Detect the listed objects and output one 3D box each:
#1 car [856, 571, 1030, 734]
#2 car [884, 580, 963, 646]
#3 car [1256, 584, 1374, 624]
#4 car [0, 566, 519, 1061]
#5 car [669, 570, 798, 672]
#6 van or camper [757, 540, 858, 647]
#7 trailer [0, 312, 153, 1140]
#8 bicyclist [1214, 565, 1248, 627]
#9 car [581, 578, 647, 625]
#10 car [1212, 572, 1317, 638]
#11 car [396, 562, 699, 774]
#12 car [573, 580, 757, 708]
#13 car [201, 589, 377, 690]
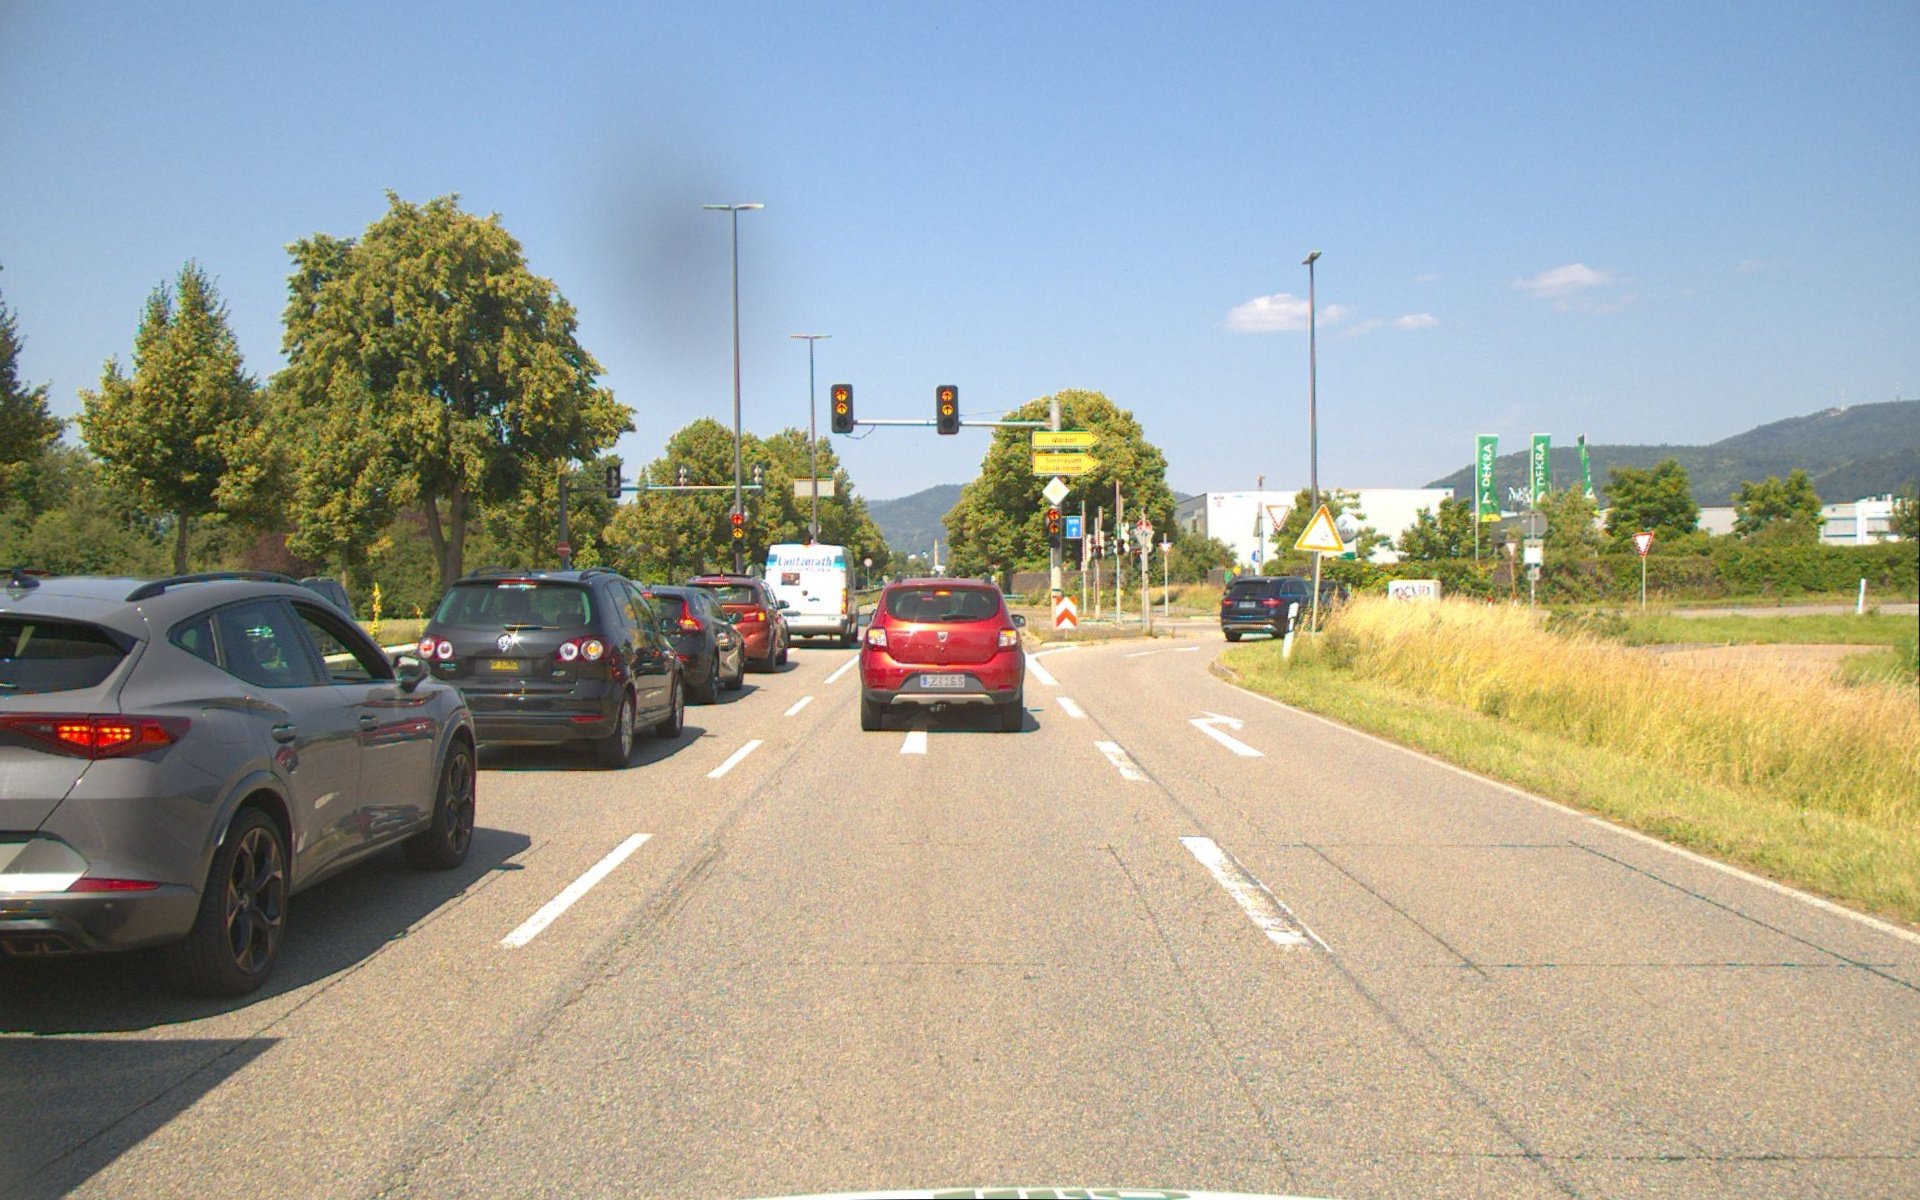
[{"bbox_3d":[-0.141,0.500,18.223,1.713,1.603,3.677,0,1,1],"label":"car"},{"bbox_3d":[-0.822,0.266,39.288,1.713,1.483,3.677,0,1,1],"label":"car"},{"bbox_3d":[12.528,0.122,58.540,3.902,1.350,1.808,0,1,6],"label":"car"},{"bbox_3d":[-3.349,0.628,7.276,1.710,1.529,4.362,0,1,-1],"label":"car"},{"bbox_3d":[-3.836,0.317,28.549,1.689,1.628,3.955,0,1,0],"label":"car"},{"bbox_3d":[-3.508,-0.159,38.935,2.135,2.343,4.824,1,1,-3],"label":"van or camper"},{"bbox_3d":[-3.280,0.354,3.178,1.470,2.211,4.173,0,1,-1],"label":"trailer"},{"bbox_3d":[7.982,-0.130,48.771,0.787,1.802,0.807,-1,1,-7],"label":"bicyclist"},{"bbox_3d":[-15.117,0.019,72.411,1.953,1.964,5.014,-1,1,-2],"label":"car"},{"bbox_3d":[8.018,0.101,43.281,1.952,1.645,4.340,1,1,21],"label":"car"},{"bbox_3d":[-3.475,0.495,14.642,1.688,1.603,3.892,1,1,0],"label":"car"},{"bbox_3d":[-3.735,0.497,21.537,1.667,1.467,3.955,1,1,0],"label":"car"},{"bbox_3d":[-13.789,0.753,34.307,1.820,1.888,4.695,-1,1,-2],"label":"car"}]
